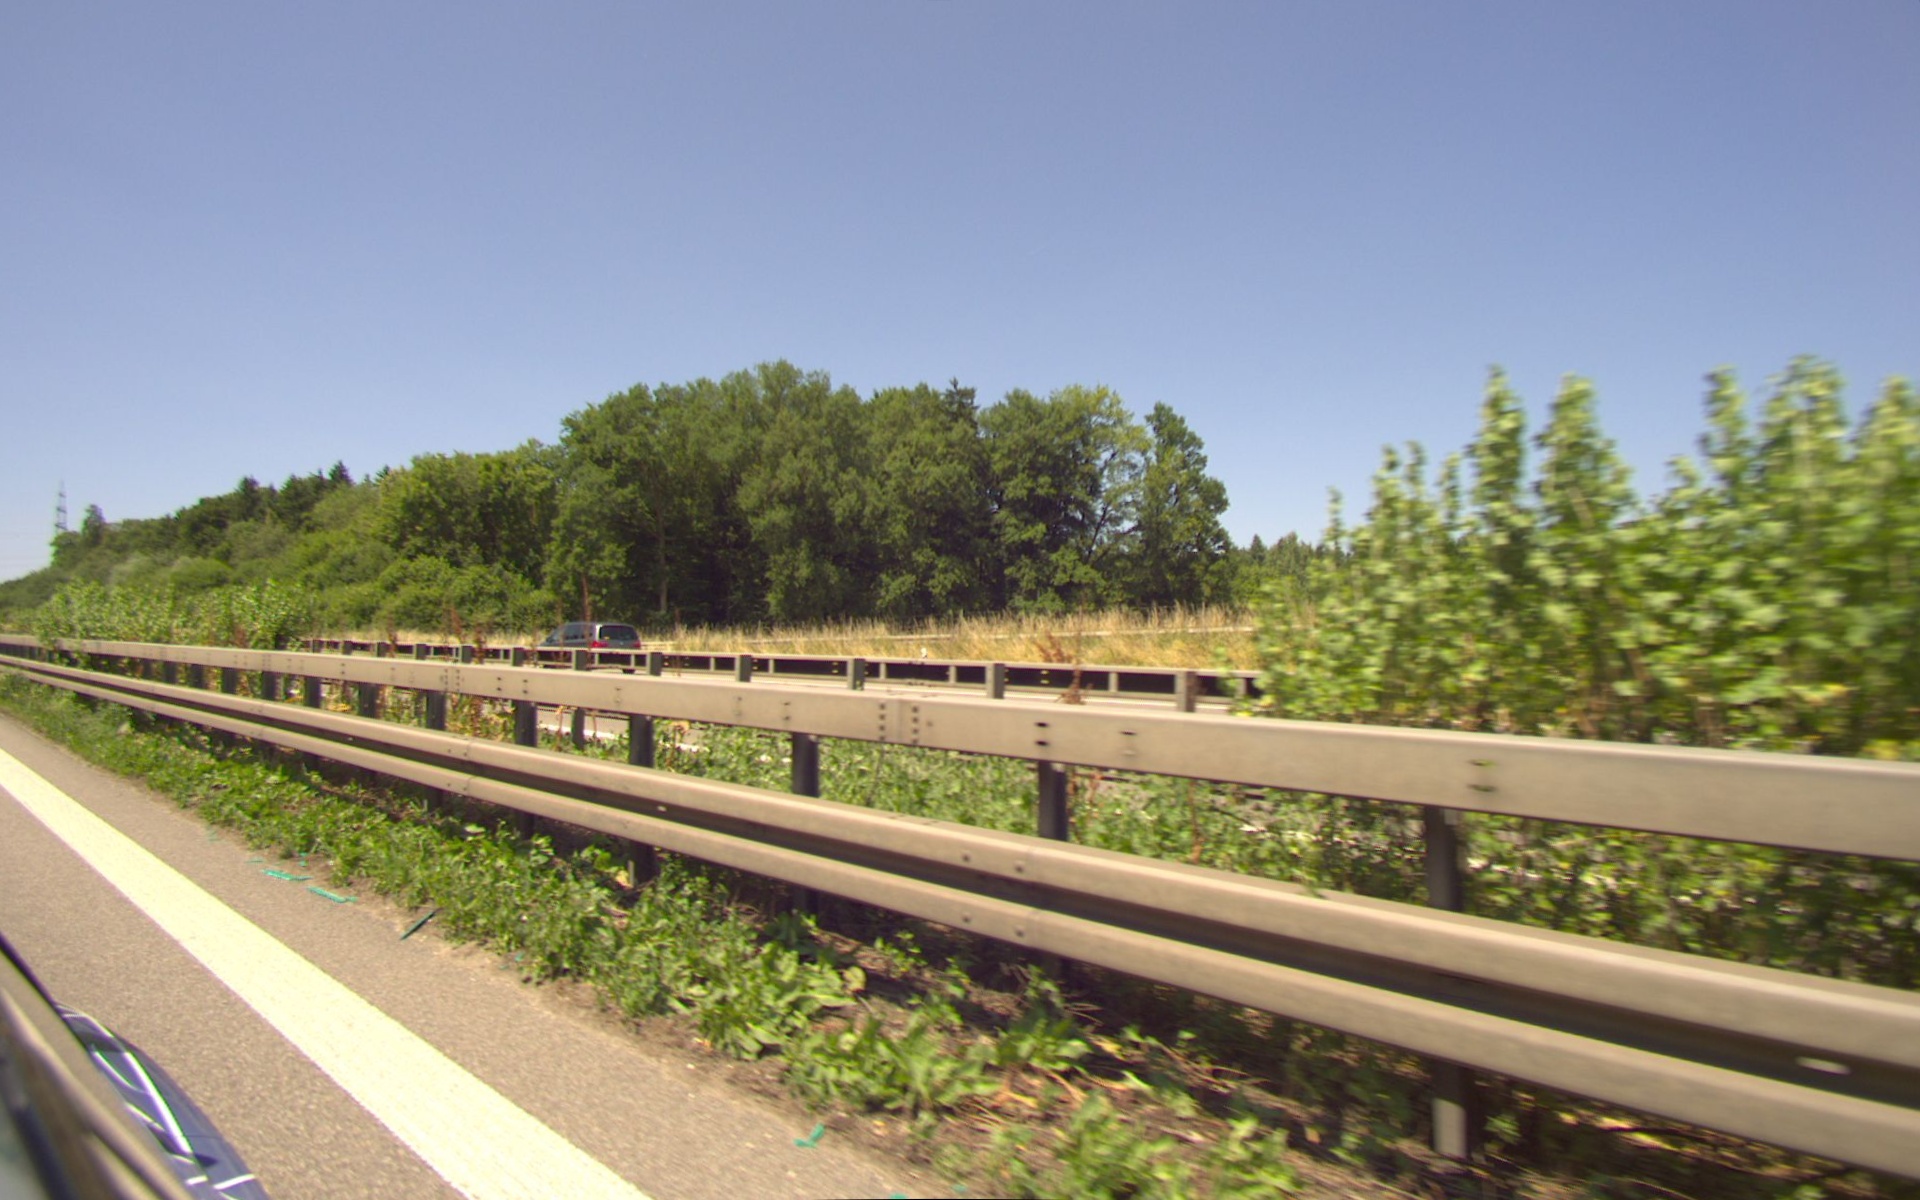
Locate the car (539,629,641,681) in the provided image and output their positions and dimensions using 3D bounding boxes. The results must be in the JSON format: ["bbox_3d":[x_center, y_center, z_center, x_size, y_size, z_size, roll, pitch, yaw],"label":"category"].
[{"bbox_3d":[-12.214,1.791,33.323,3.692,1.562,1.543,-2,-1,41],"label":"car"}]
